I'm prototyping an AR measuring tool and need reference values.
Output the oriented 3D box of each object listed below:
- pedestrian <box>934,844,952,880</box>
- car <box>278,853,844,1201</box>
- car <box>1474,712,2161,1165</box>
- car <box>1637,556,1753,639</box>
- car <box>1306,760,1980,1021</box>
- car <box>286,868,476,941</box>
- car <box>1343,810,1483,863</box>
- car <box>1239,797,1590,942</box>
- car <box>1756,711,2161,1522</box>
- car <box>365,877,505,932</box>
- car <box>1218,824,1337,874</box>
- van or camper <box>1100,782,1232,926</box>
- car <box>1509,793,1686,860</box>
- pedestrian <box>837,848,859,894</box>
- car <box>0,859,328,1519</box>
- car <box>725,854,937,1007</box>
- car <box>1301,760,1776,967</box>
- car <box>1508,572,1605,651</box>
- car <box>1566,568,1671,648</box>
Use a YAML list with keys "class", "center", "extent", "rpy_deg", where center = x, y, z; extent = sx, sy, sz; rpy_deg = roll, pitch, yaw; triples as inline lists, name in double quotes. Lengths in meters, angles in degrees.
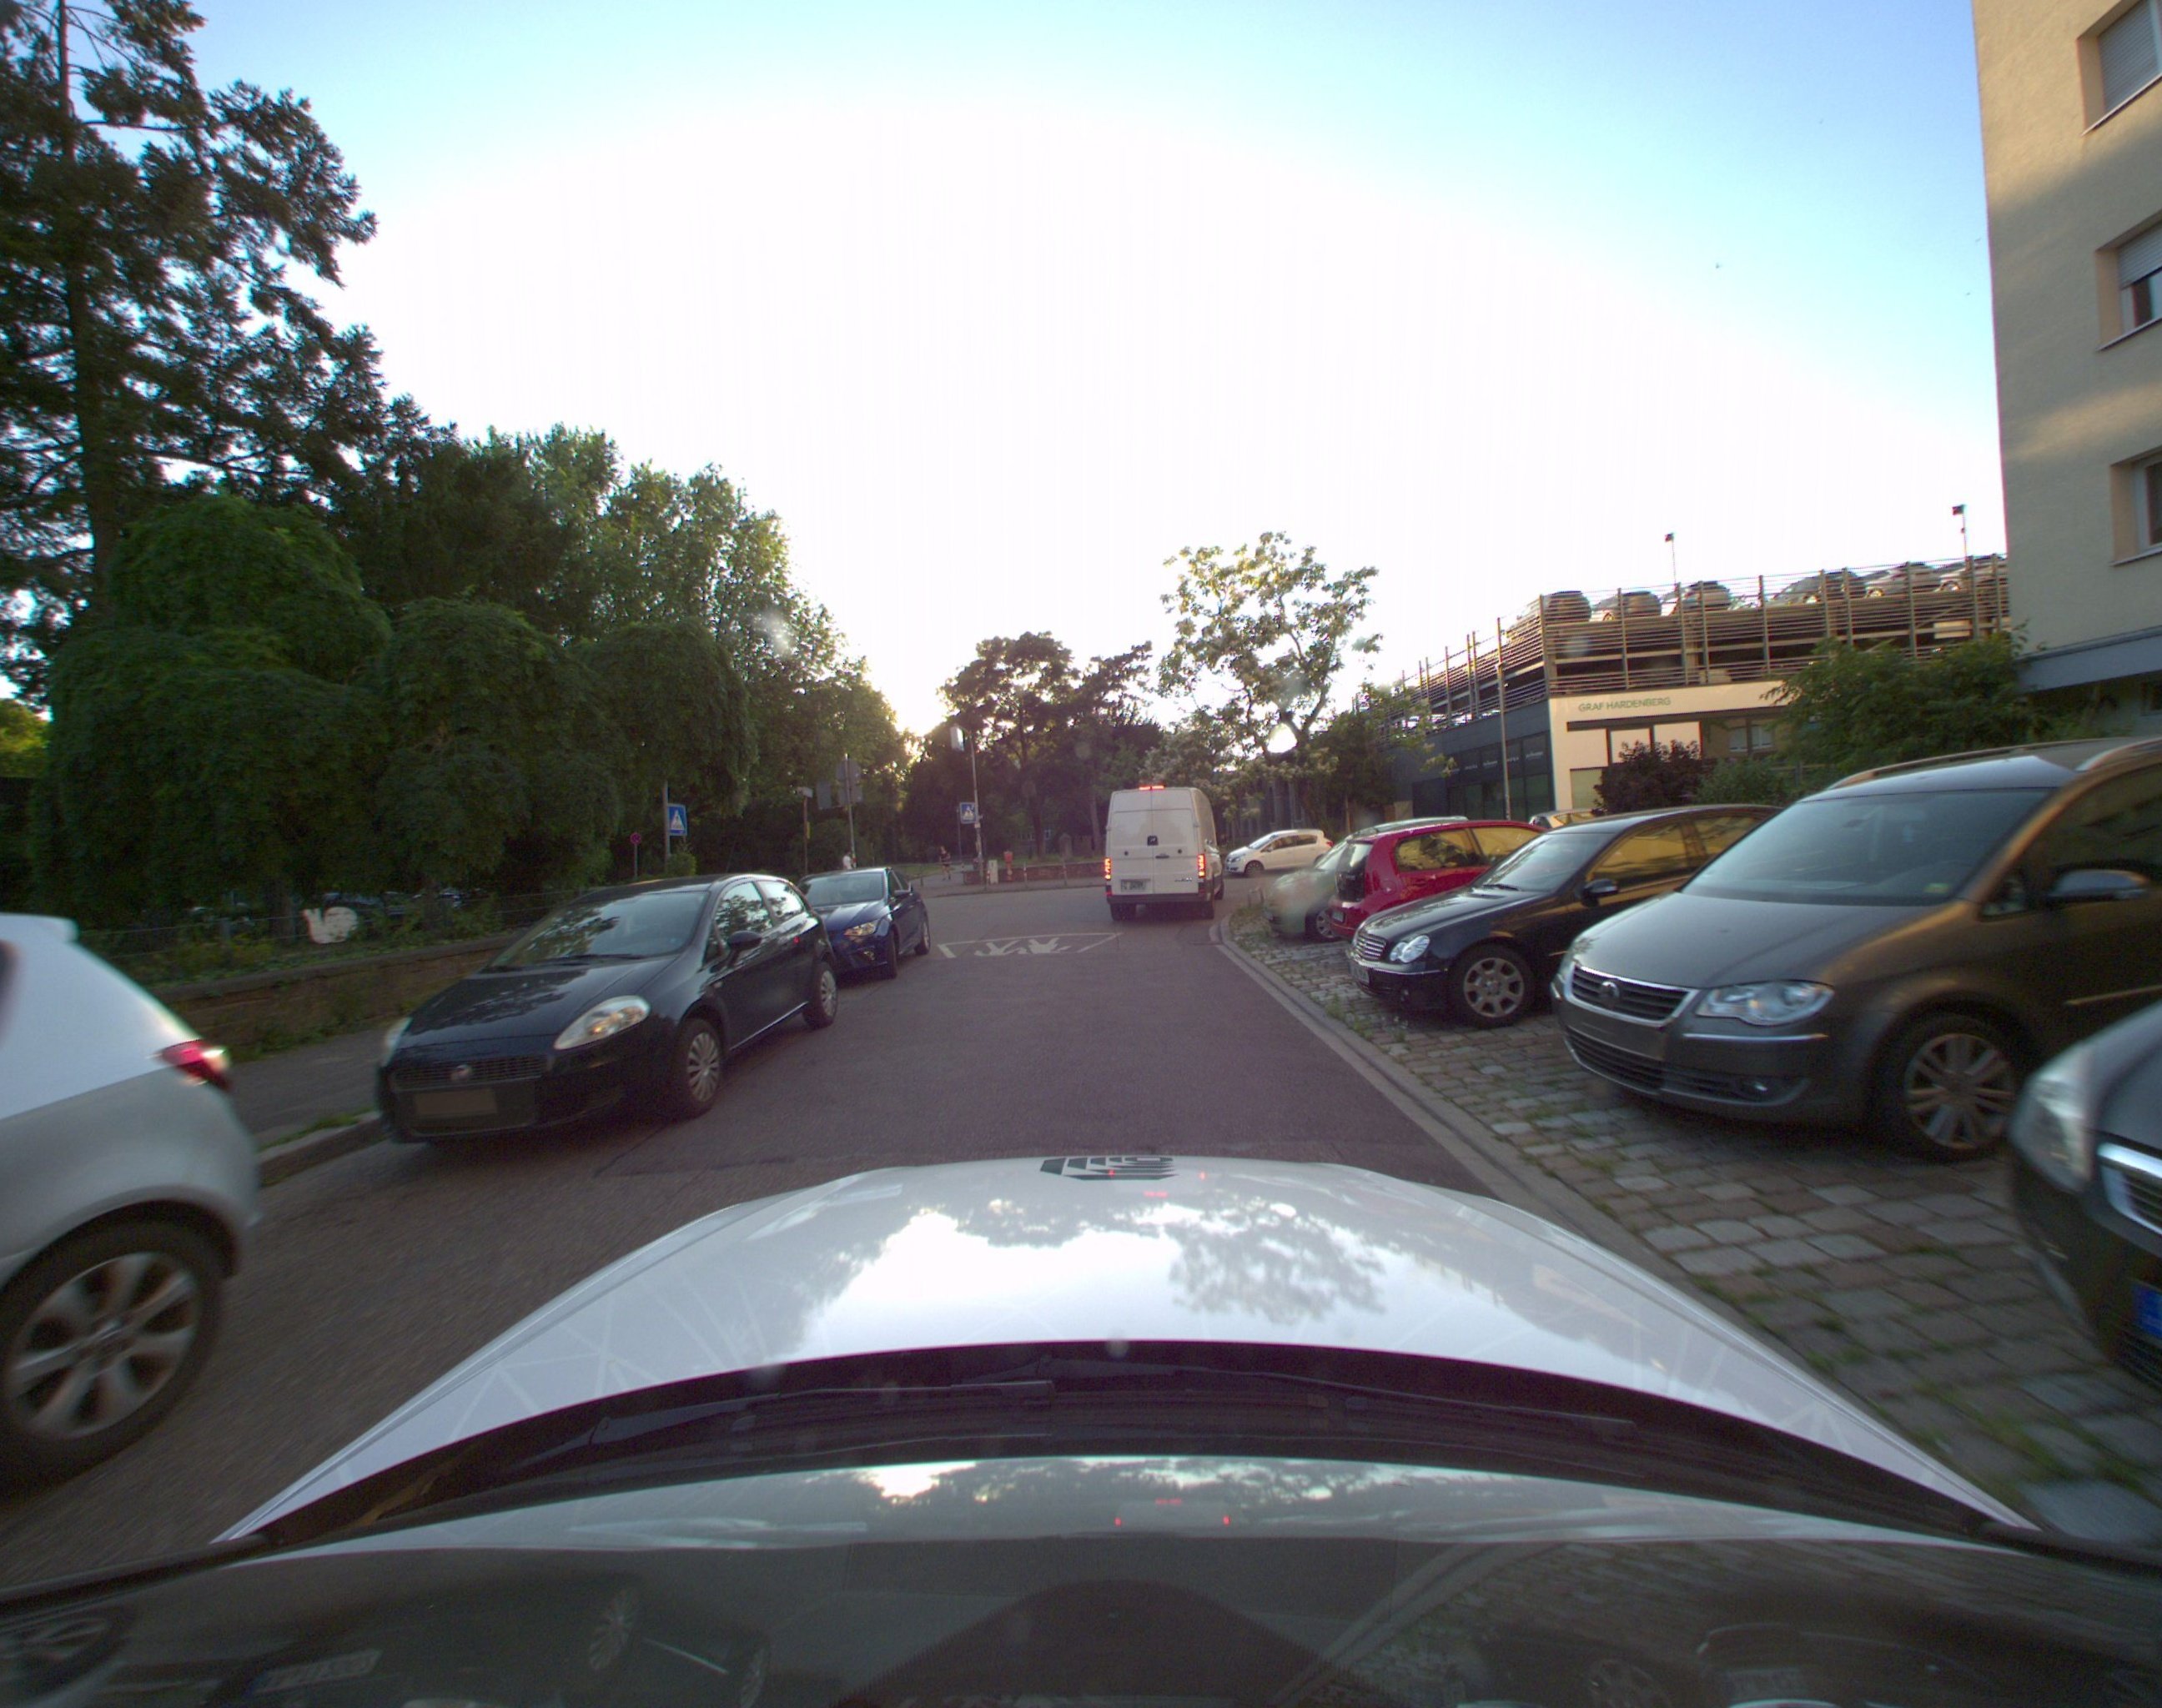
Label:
- class: "pedestrian"
  center: [-6.583, 0.377, 38.919]
  extent: [0.644, 1.648, 0.674]
  rpy_deg: [-2, 1, 1]
- class: "car"
  center: [-3.175, 0.876, 6.006]
  extent: [1.729, 1.567, 3.695]
  rpy_deg: [-5, 1, -2]
- class: "car"
  center: [4.800, 0.226, 4.347]
  extent: [4.392, 1.661, 1.844]
  rpy_deg: [-6, -1, -2]
- class: "car"
  center: [24.979, -10.393, 33.328]
  extent: [1.983, 2.013, 4.007]
  rpy_deg: [-3, 0, 6]
- class: "car"
  center: [4.421, 0.276, 6.928]
  extent: [4.391, 1.531, 1.844]
  rpy_deg: [-5, -1, -2]
- class: "car"
  center: [-21.182, 1.512, 24.758]
  extent: [4.211, 1.799, 1.824]
  rpy_deg: [-5, -3, 3]
- class: "car"
  center: [11.879, -0.634, 29.384]
  extent: [4.272, 1.503, 1.826]
  rpy_deg: [-5, 1, 5]
- class: "car"
  center: [4.785, 0.229, 12.154]
  extent: [4.391, 1.631, 1.844]
  rpy_deg: [-5, -1, -2]
- class: "car"
  center: [4.291, 0.314, 1.630]
  extent: [4.314, 1.661, 1.780]
  rpy_deg: [-6, -1, -2]
- class: "car"
  center: [-25.101, 1.954, 31.754]
  extent: [3.852, 1.562, 1.826]
  rpy_deg: [-4, 7, 4]
- class: "car"
  center: [7.133, -0.197, 29.852]
  extent: [3.843, 1.574, 1.957]
  rpy_deg: [-3, 1, -1]
- class: "van or camper"
  center: [2.128, -0.064, 18.135]
  extent: [1.979, 2.618, 6.428]
  rpy_deg: [0, 1, 14]
- class: "car"
  center: [14.713, -0.777, 23.368]
  extent: [3.819, 1.523, 1.826]
  rpy_deg: [-5, 1, 5]
- class: "pedestrian"
  center: [-9.348, 0.673, 32.728]
  extent: [0.591, 1.809, 0.621]
  rpy_deg: [-2, 1, 2]
- class: "car"
  center: [-3.481, 0.903, 0.712]
  extent: [1.729, 1.567, 4.127]
  rpy_deg: [-5, 1, -2]
- class: "car"
  center: [-3.230, 0.889, 11.335]
  extent: [1.729, 1.567, 3.788]
  rpy_deg: [-5, 1, -2]
- class: "car"
  center: [5.091, 0.101, 9.590]
  extent: [4.386, 1.631, 1.847]
  rpy_deg: [-8, 0, 3]
- class: "car"
  center: [19.725, -10.017, 34.014]
  extent: [1.983, 2.013, 4.007]
  rpy_deg: [-3, 0, 6]
- class: "car"
  center: [22.286, -10.155, 33.947]
  extent: [1.983, 2.013, 4.007]
  rpy_deg: [-3, 0, 6]
